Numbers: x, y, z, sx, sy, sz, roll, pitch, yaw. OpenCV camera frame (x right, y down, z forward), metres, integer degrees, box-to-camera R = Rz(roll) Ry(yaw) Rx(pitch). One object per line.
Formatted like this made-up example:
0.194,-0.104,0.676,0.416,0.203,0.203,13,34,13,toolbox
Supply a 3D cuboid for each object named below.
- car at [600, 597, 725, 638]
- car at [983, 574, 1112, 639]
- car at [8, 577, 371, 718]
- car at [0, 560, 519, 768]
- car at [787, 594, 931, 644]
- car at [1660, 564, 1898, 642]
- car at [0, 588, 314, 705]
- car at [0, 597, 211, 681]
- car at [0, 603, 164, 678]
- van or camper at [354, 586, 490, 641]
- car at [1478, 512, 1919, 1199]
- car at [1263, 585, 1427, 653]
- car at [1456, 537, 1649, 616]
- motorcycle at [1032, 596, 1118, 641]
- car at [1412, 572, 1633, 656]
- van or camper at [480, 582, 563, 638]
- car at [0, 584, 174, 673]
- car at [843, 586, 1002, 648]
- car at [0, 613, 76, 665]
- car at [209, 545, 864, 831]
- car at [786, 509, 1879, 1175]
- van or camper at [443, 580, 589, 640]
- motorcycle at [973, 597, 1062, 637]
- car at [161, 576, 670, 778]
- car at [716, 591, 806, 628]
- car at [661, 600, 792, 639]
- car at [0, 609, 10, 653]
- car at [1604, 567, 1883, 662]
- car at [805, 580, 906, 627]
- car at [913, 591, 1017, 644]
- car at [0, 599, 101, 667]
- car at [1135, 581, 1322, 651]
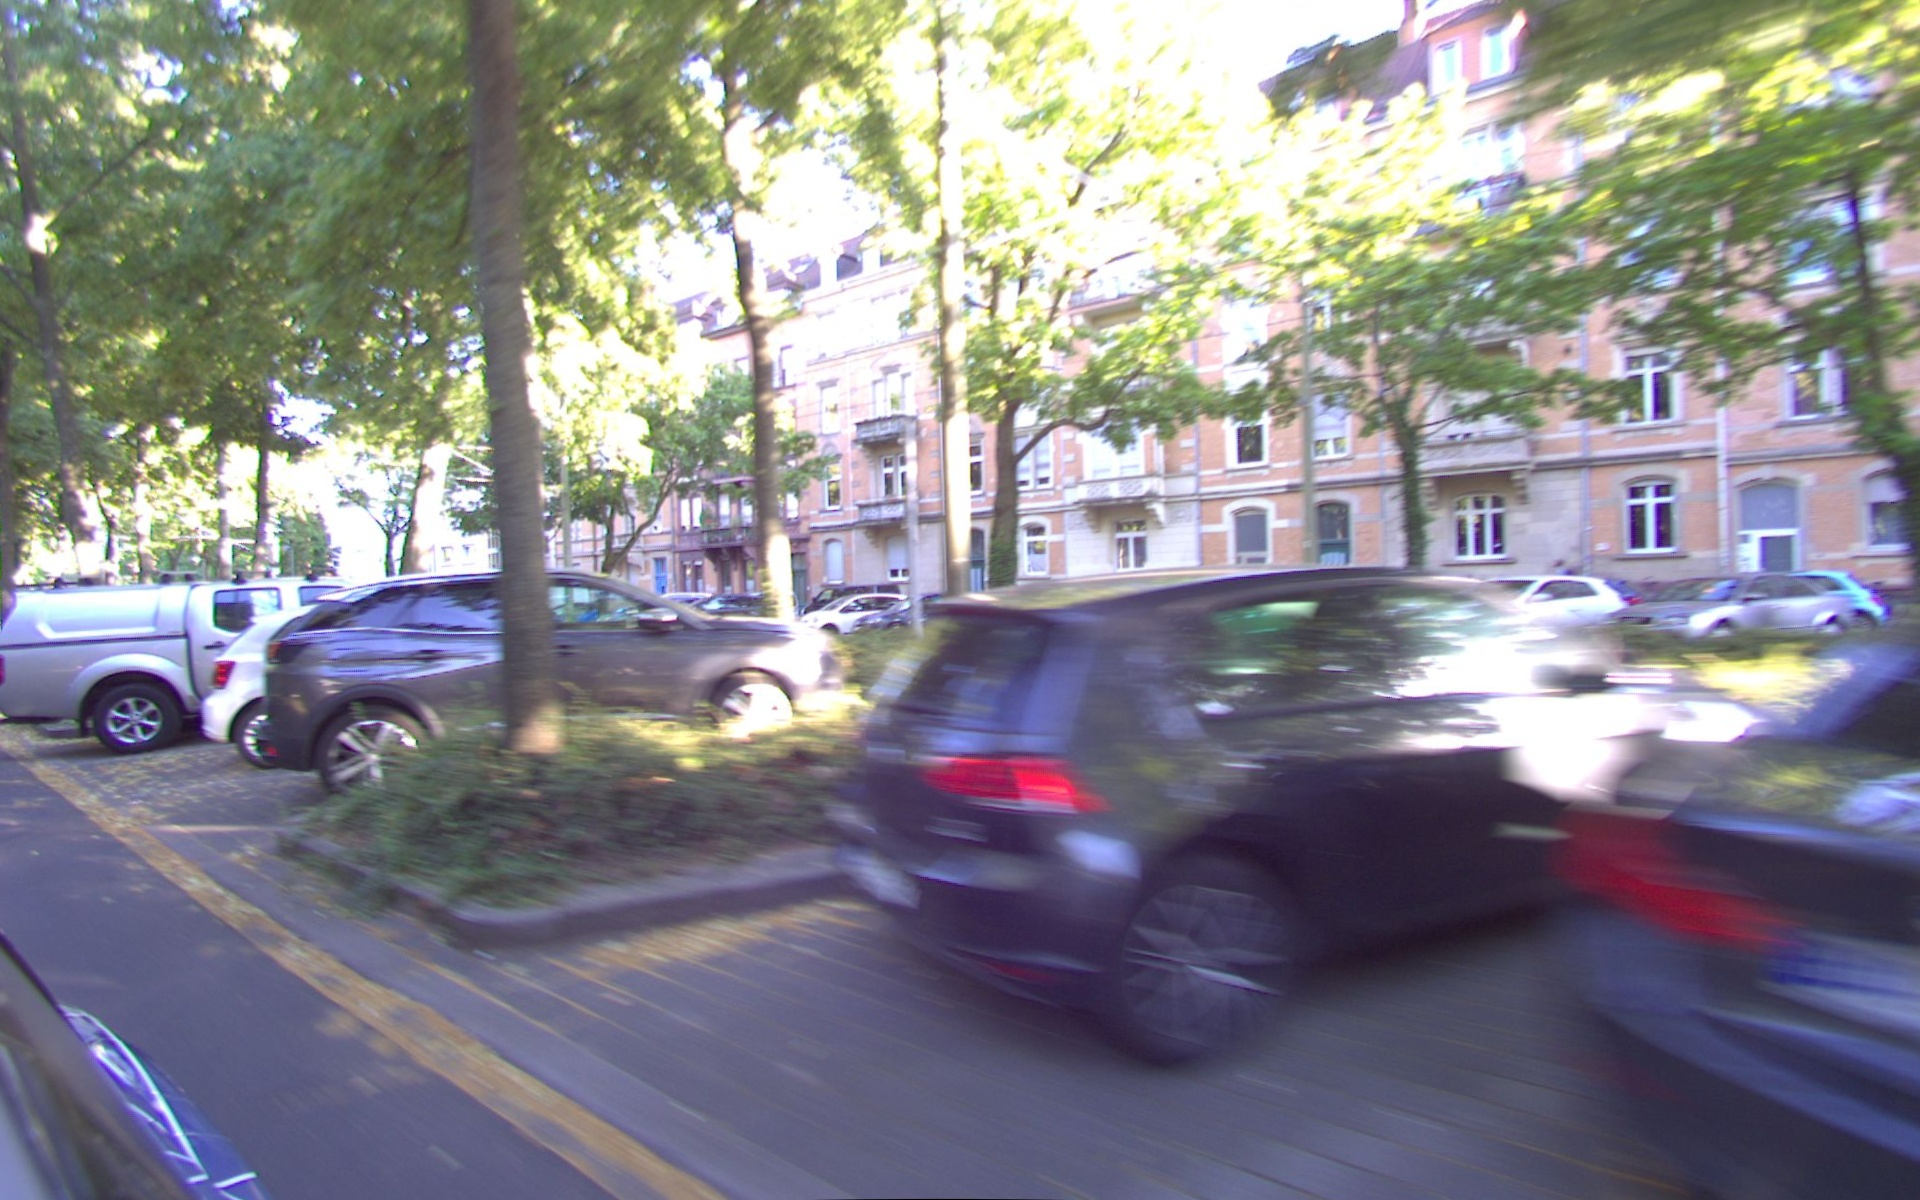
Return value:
-10.609,0.596,36.059,4.116,1.320,1.641,-1,0,-21,car
3.021,0.248,35.296,3.995,2.028,1.975,-3,2,39,car
-12.022,0.660,16.115,4.092,1.794,1.889,-4,2,-12,car
-7.897,0.593,11.771,4.916,1.794,1.994,-4,2,-22,car
-2.995,0.534,30.105,3.931,1.327,1.599,-1,0,-30,car
18.573,0.093,23.166,4.054,1.530,1.833,-3,2,39,car
-14.329,0.755,18.223,4.090,1.656,1.921,-4,2,-16,car
-20.945,0.914,24.196,4.443,1.628,1.860,-4,2,-17,car
-23.571,1.065,26.025,4.442,1.628,1.941,-5,3,-26,car
-25.395,0.615,47.983,5.579,2.487,2.006,-1,-1,-26,van or camper
3.320,0.474,2.036,4.128,1.449,1.838,-5,3,-24,car
10.921,0.541,28.809,3.994,1.789,1.777,-2,-1,38,car
14.915,-0.545,25.558,3.994,1.789,1.777,-1,0,38,car
2.695,0.423,23.700,1.698,0.962,1.023,-1,0,-30,motorcycle
10.483,0.235,18.856,3.674,1.391,1.733,-1,0,-25,car
-25.527,0.619,58.797,5.508,3.133,2.054,-2,-2,39,van or camper
-25.625,0.825,28.148,5.420,2.152,2.088,-4,2,-20,car
-1.051,0.449,28.220,3.931,1.590,2.007,-1,0,-24,car
-32.779,1.394,33.763,4.494,1.552,1.941,-4,2,-17,car
-3.169,0.517,8.244,4.283,1.638,1.948,-4,2,-21,car
1.456,0.496,4.002,3.806,1.449,1.838,-5,3,-24,car
-18.534,0.395,42.487,5.455,2.389,2.315,-1,-1,-23,van or camper
1.395,0.414,24.715,1.944,0.895,1.023,-1,0,-13,motorcycle
-5.166,0.624,10.185,4.089,1.470,1.777,-4,2,-21,car
-8.953,0.461,45.451,4.019,1.543,1.833,-2,-2,39,car
-7.926,0.632,34.386,4.131,1.176,1.504,-1,0,-22,car
-46.490,1.601,45.650,4.803,1.992,2.052,-4,2,-21,car
13.155,0.211,17.006,4.216,1.391,1.599,-1,0,-19,car
-4.324,0.194,41.504,4.019,1.796,1.833,-2,-2,39,car
0.170,0.675,38.308,3.504,1.796,1.833,-3,2,39,car
-30.511,1.121,31.976,4.634,1.957,1.941,-4,2,-17,car
5.920,0.330,22.335,3.674,1.391,1.713,-1,0,-24,car
